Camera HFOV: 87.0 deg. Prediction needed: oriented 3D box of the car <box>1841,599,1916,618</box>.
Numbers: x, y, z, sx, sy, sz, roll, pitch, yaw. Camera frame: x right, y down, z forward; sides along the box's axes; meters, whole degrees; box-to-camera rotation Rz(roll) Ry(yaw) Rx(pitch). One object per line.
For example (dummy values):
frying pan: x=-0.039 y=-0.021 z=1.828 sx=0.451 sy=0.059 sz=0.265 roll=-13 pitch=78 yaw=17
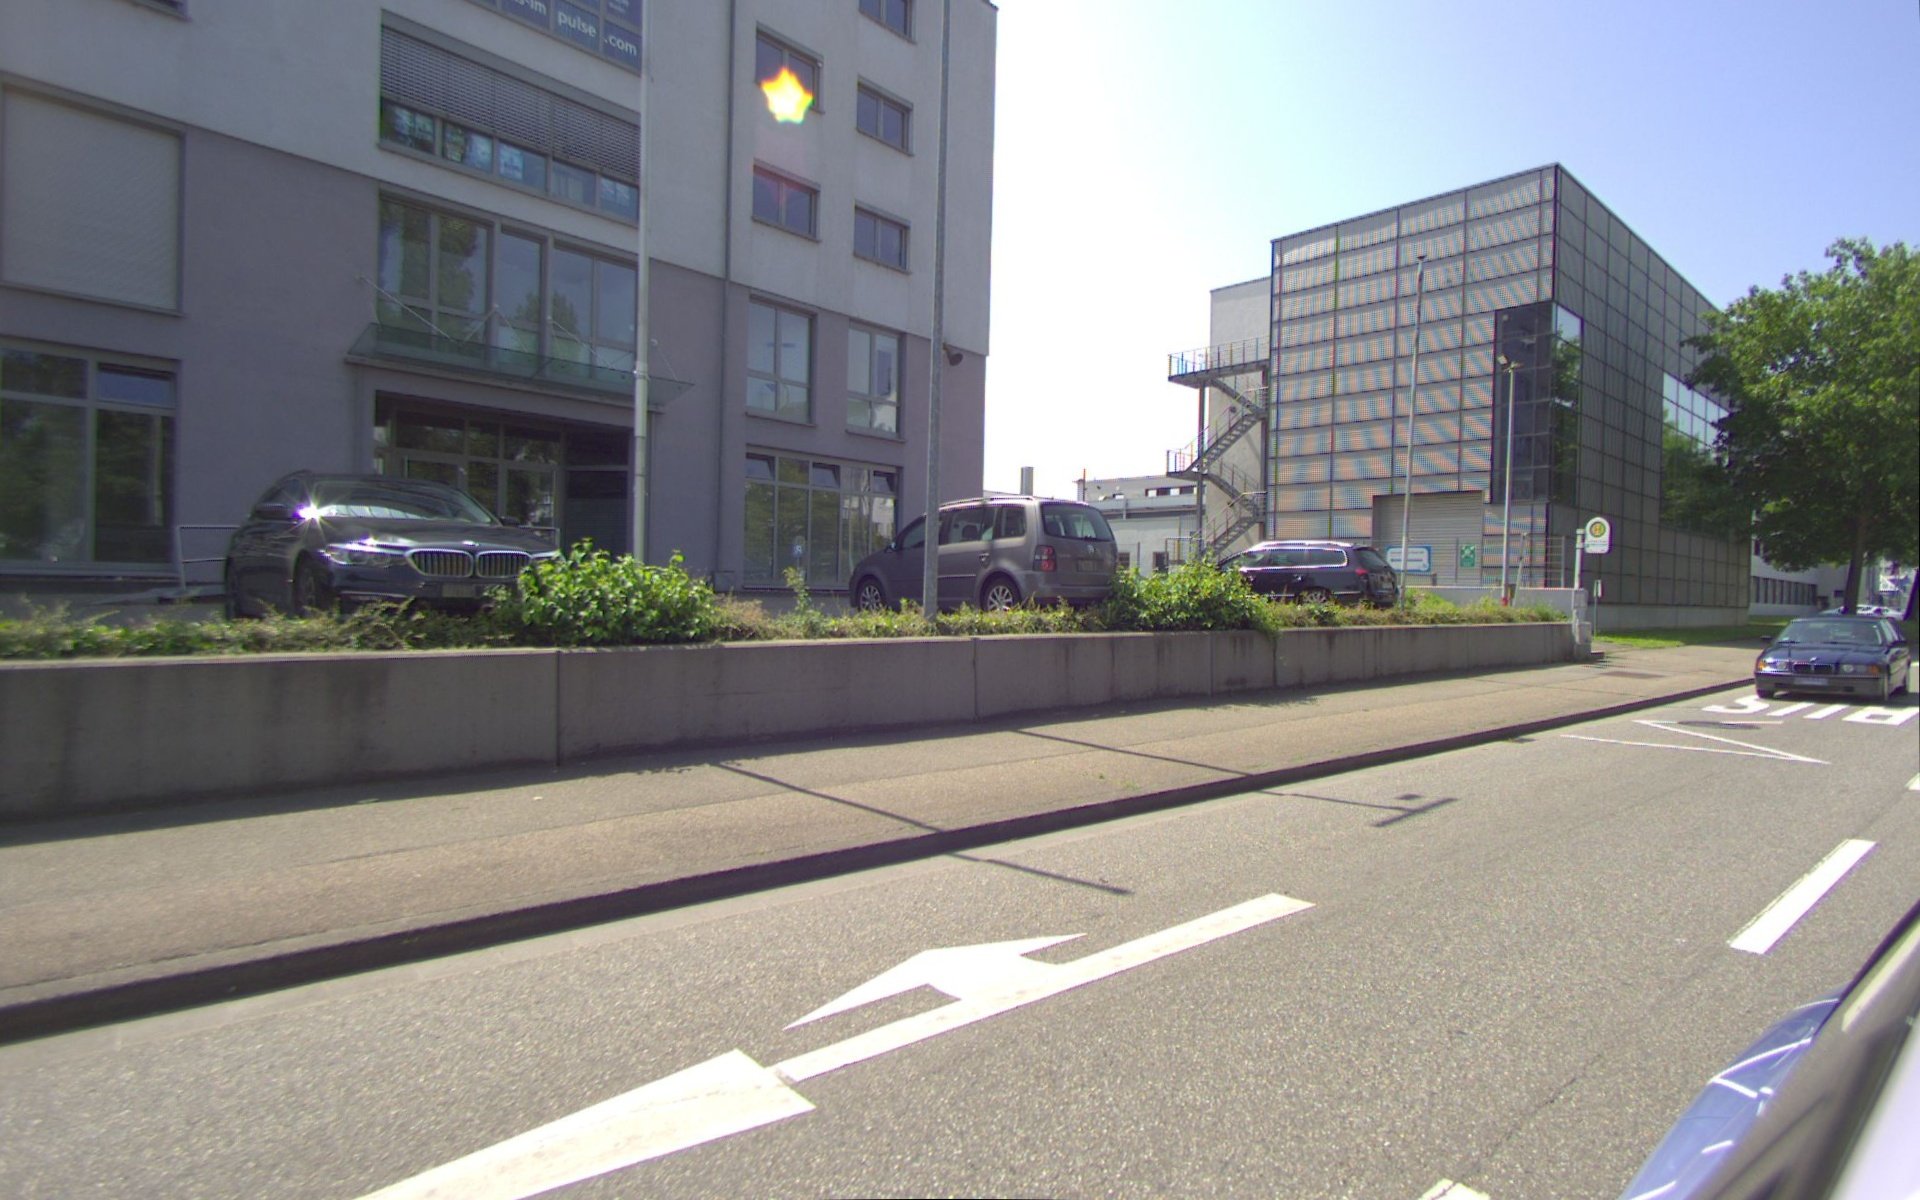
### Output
car: x=76.750 y=0.677 z=84.635 sx=4.613 sy=1.407 sz=1.969 roll=2 pitch=2 yaw=43

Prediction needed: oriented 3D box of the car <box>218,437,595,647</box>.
car: x=-5.077 y=-0.467 z=8.956 sx=1.966 sy=1.385 sz=4.326 roll=0 pitch=2 yaw=-42

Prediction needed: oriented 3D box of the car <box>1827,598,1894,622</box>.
car: x=70.695 y=0.755 z=79.466 sx=3.816 sy=1.611 sz=1.704 roll=6 pitch=3 yaw=45

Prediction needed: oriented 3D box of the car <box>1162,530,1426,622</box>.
car: x=6.419 y=-0.505 z=19.822 sx=1.968 sy=1.602 sz=4.502 roll=0 pitch=2 yaw=-45

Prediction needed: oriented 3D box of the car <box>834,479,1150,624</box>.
car: x=0.294 y=-0.641 z=13.901 sx=1.966 sy=1.667 sz=4.234 roll=0 pitch=2 yaw=-42

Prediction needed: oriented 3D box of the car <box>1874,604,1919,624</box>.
car: x=89.100 y=1.298 z=95.410 sx=4.261 sy=1.710 sz=1.968 roll=3 pitch=2 yaw=45

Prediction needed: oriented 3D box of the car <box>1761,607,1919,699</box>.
car: x=14.897 y=0.826 z=16.936 sx=3.689 sy=1.356 sz=1.631 roll=1 pitch=-1 yaw=-40
